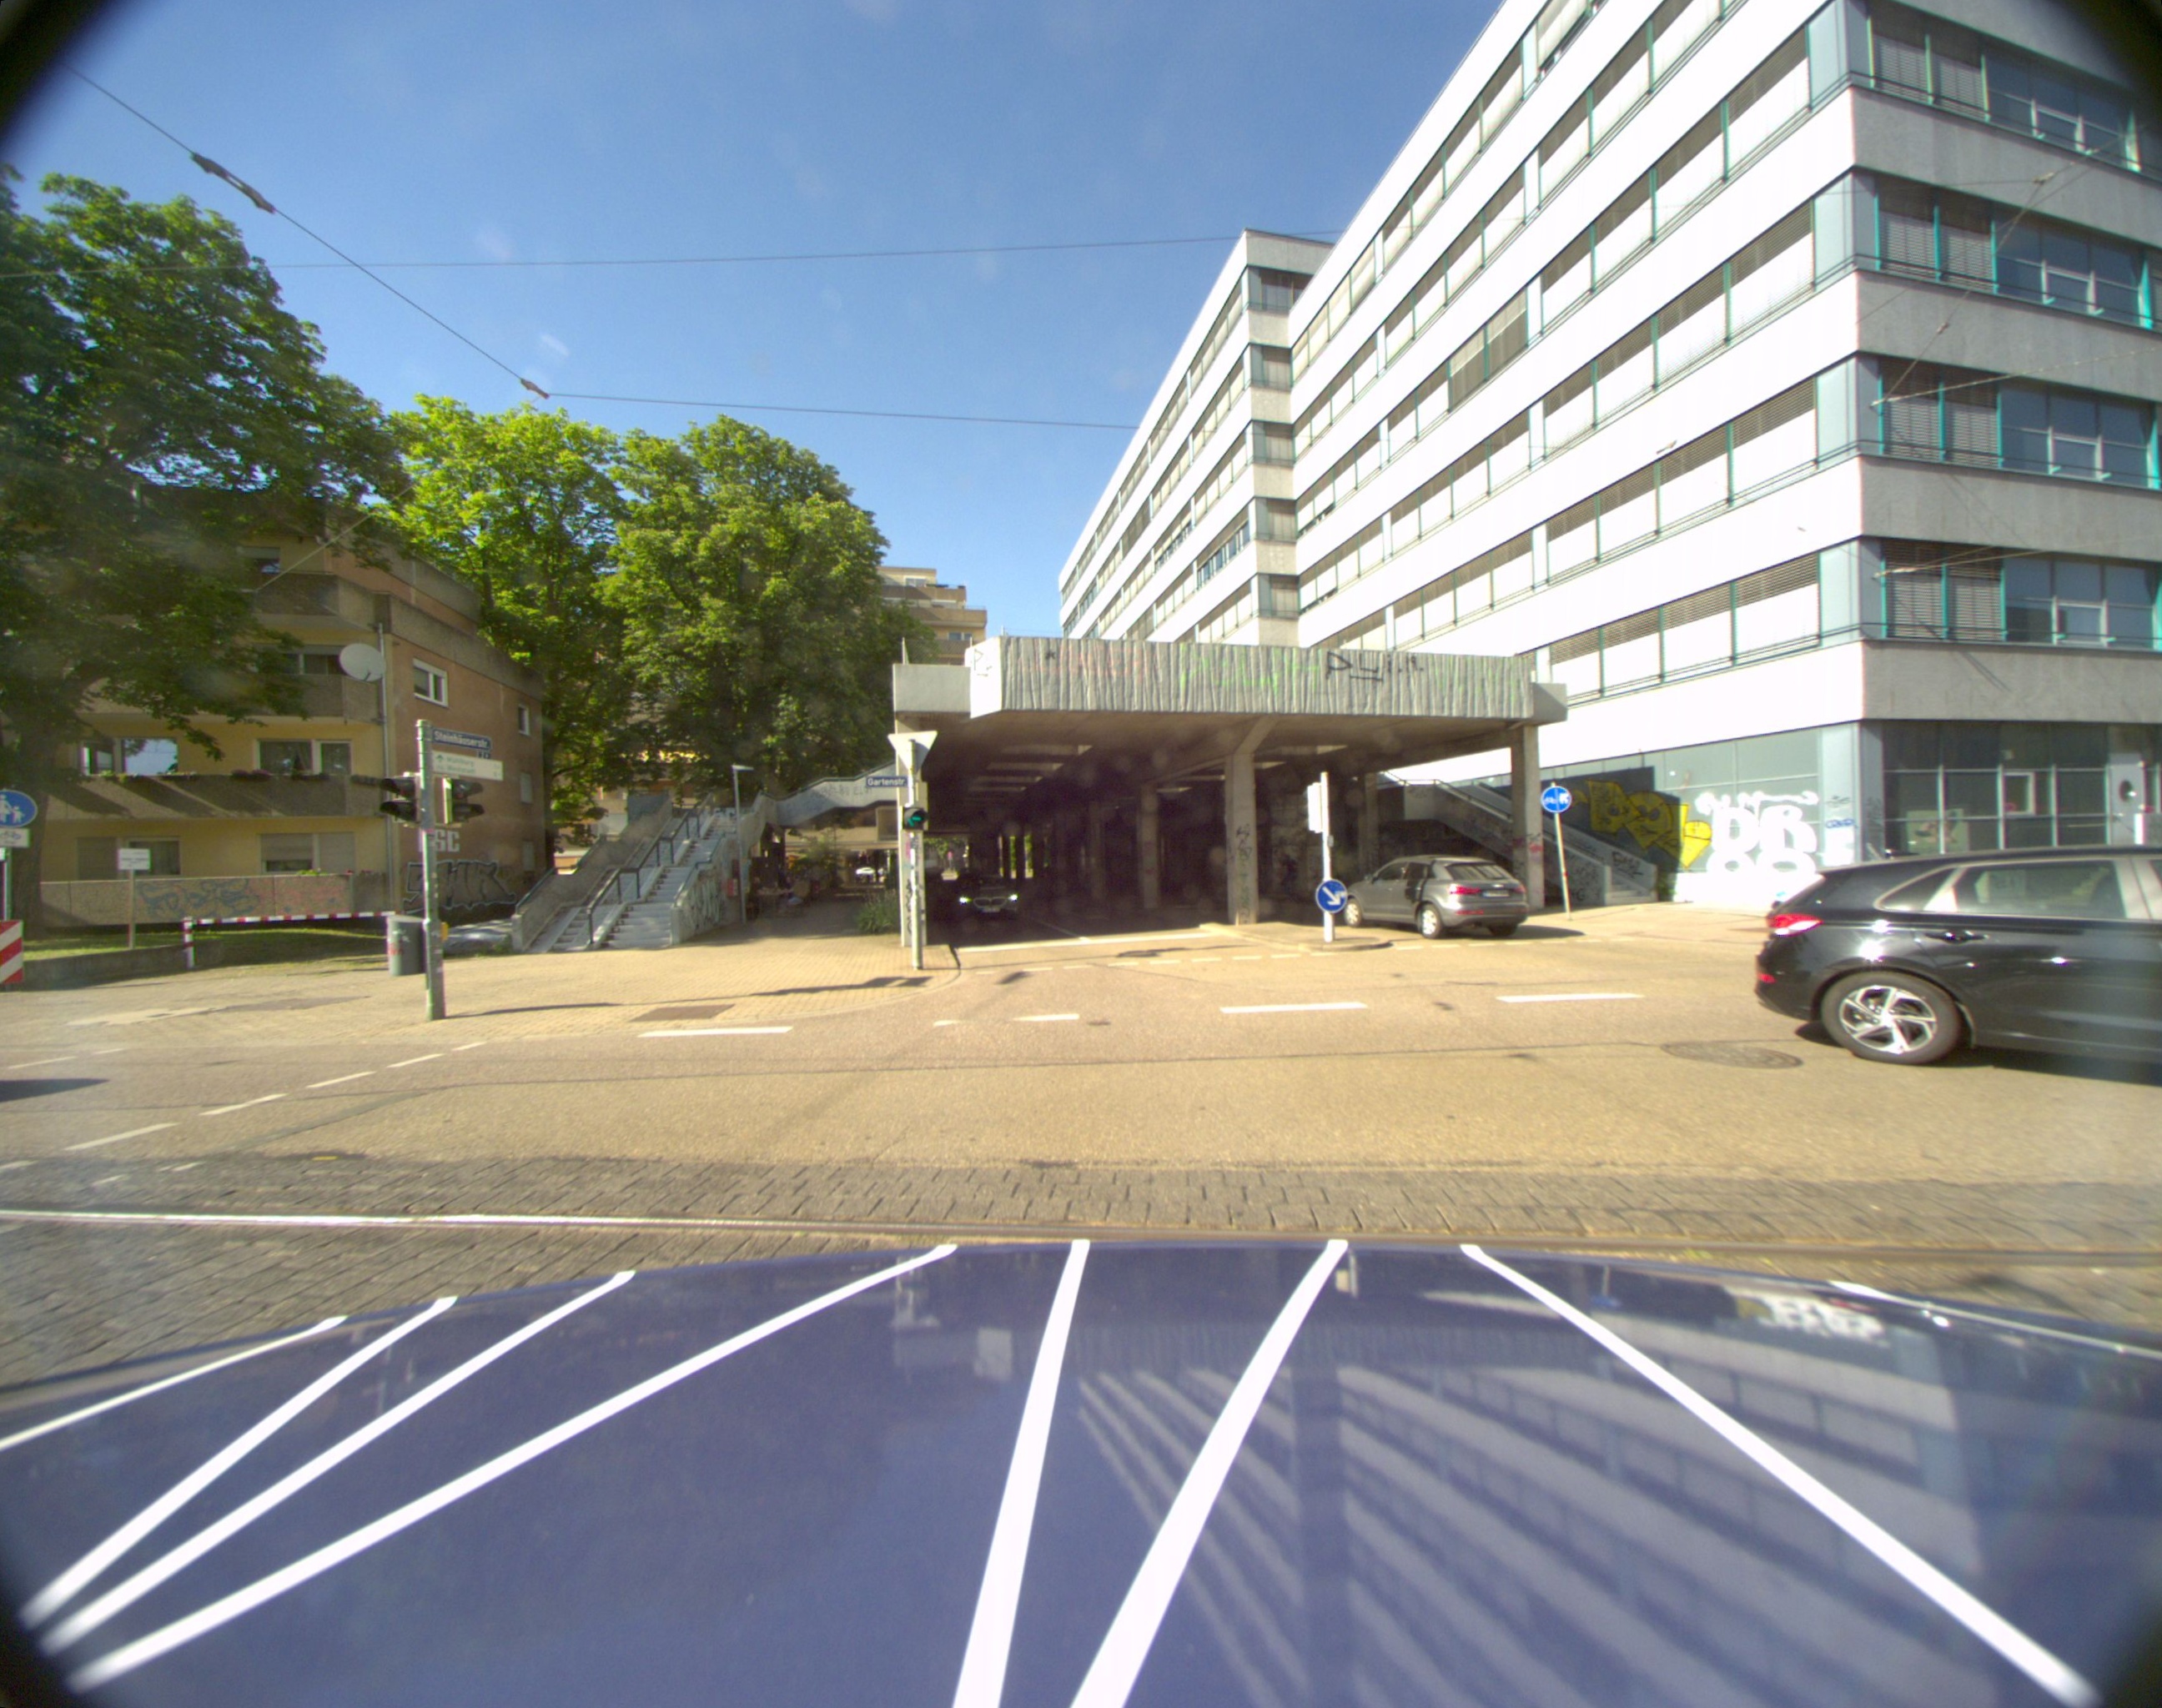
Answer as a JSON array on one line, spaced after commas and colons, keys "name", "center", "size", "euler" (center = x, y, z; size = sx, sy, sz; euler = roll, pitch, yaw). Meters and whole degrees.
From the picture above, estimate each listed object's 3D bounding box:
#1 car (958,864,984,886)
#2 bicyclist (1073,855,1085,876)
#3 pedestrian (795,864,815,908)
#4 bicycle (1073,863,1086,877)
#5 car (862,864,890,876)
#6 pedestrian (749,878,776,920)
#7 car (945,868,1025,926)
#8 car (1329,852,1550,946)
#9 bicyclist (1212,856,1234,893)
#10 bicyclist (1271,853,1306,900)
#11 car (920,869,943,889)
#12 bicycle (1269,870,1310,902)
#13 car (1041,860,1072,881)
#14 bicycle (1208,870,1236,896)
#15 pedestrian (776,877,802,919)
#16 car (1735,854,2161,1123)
[{"name": "car", "center": [-8.371, 1.532, 57.608], "size": [1.618, 1.546, 4.009], "euler": [-2, 0, -12]}, {"name": "bicyclist", "center": [-0.179, 0.971, 64.024], "size": [0.748, 1.701, 0.966], "euler": [-2, -1, -14]}, {"name": "pedestrian", "center": [-10.860, 1.239, 29.924], "size": [0.659, 1.681, 0.589], "euler": [-2, 1, -19]}, {"name": "bicycle", "center": [-0.128, 1.349, 63.958], "size": [0.700, 1.083, 1.858], "euler": [-2, -2, -13]}, {"name": "car", "center": [-27.896, 2.235, 103.672], "size": [3.583, 1.477, 1.667], "euler": [-2, 0, -13]}, {"name": "pedestrian", "center": [-10.365, 1.456, 24.750], "size": [0.741, 1.291, 0.612], "euler": [-2, 1, -19]}, {"name": "car", "center": [-3.253, 1.303, 24.848], "size": [1.960, 1.546, 5.034], "euler": [-2, 0, -14]}, {"name": "car", "center": [7.164, 0.814, 15.722], "size": [1.891, 1.600, 4.143], "euler": [-2, 0, -14]}, {"name": "bicyclist", "center": [6.338, 0.903, 34.014], "size": [0.608, 1.623, 0.909], "euler": [-2, 0, -13]}, {"name": "bicyclist", "center": [7.648, 0.824, 28.016], "size": [0.785, 1.650, 1.030], "euler": [-2, 0, -13]}, {"name": "car", "center": [-11.261, 1.858, 57.211], "size": [1.618, 1.367, 4.195], "euler": [-2, 0, -12]}, {"name": "bicycle", "center": [7.677, 1.172, 28.086], "size": [0.543, 1.116, 2.056], "euler": [-2, 0, -13]}, {"name": "car", "center": [-1.881, 1.228, 56.803], "size": [1.663, 1.432, 3.459], "euler": [-2, 0, -13]}, {"name": "bicycle", "center": [6.321, 1.272, 34.171], "size": [0.527, 1.084, 1.858], "euler": [-2, 0, -13]}, {"name": "pedestrian", "center": [-9.608, 1.435, 24.984], "size": [0.725, 1.291, 0.589], "euler": [-2, 1, -19]}, {"name": "car", "center": [6.885, 0.735, 4.440], "size": [1.810, 1.442, 4.315], "euler": [-2, 0, -36]}]
